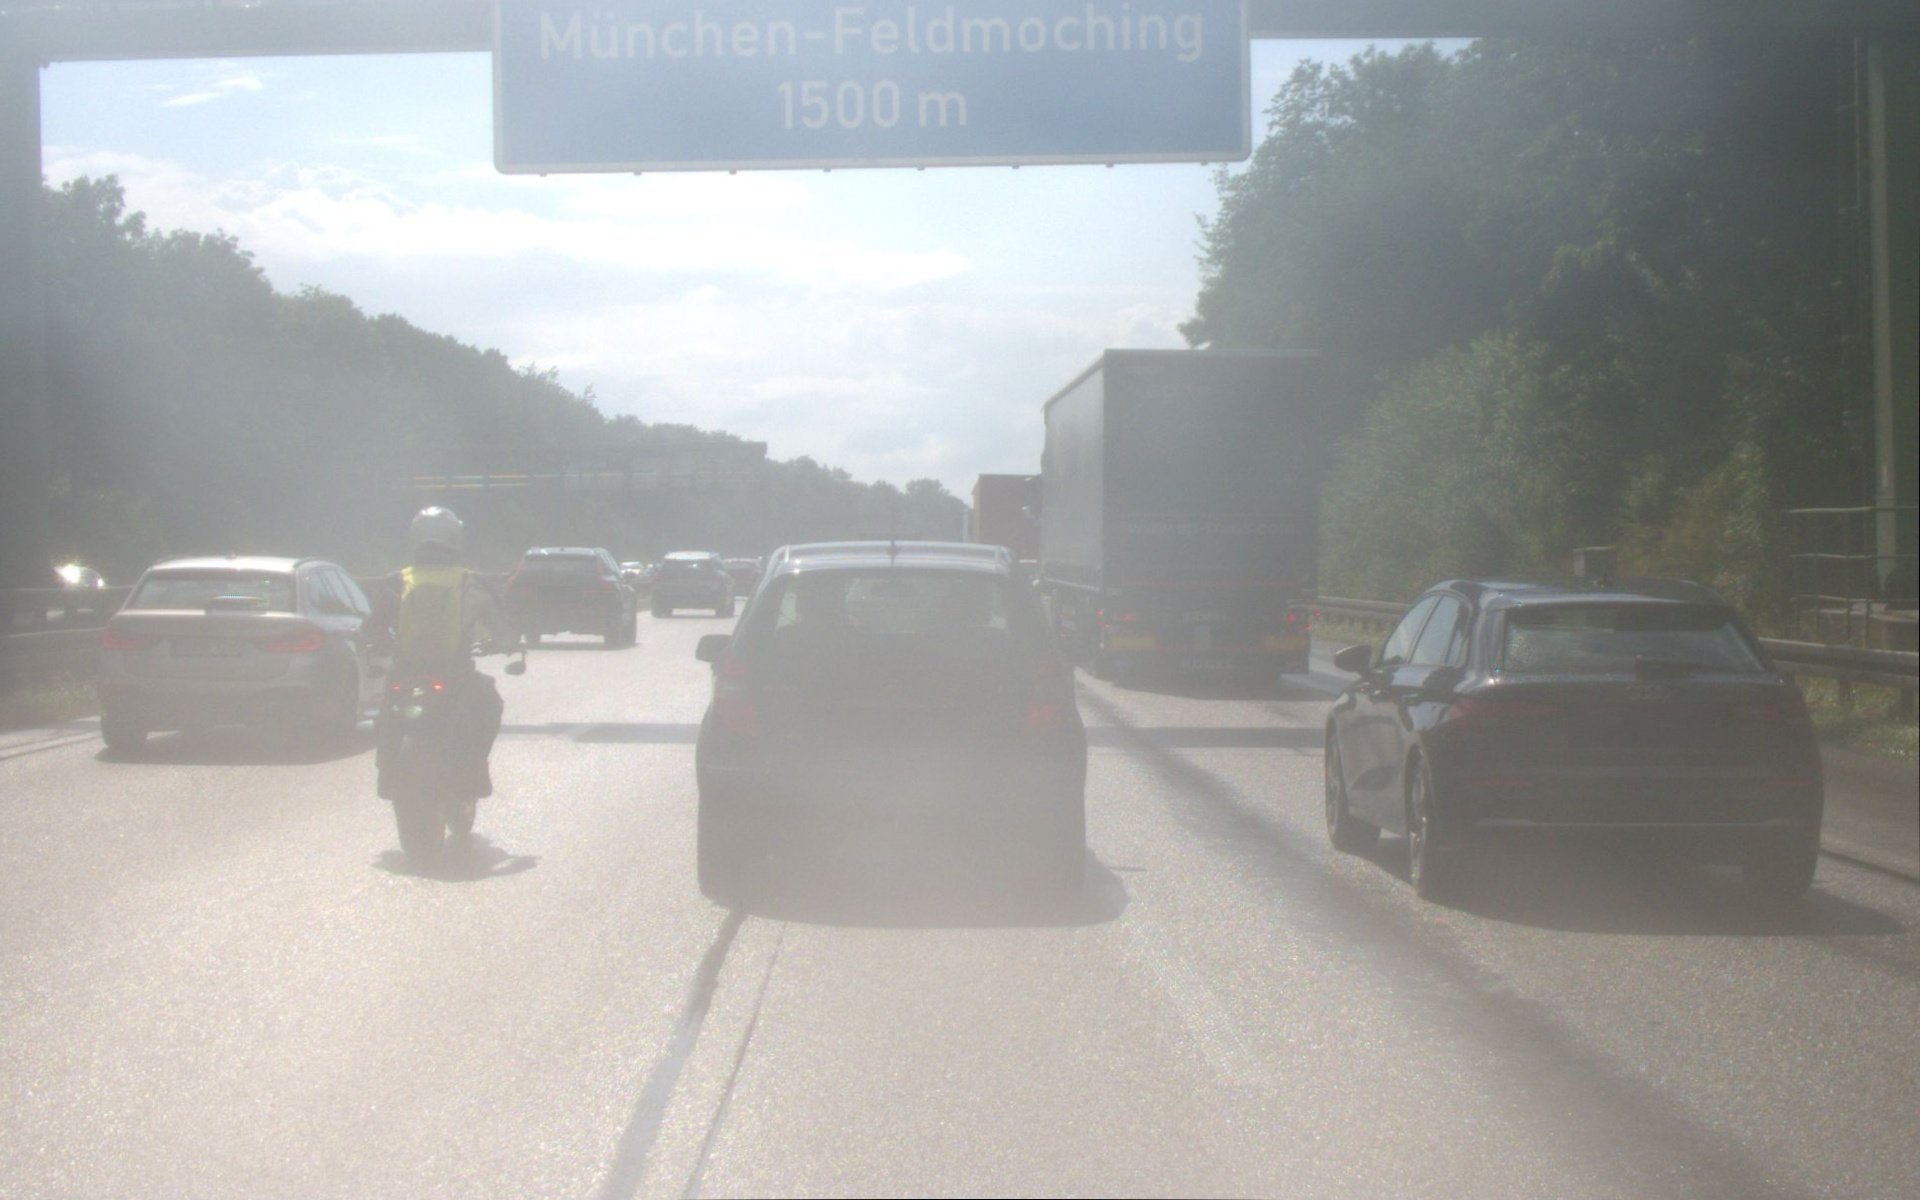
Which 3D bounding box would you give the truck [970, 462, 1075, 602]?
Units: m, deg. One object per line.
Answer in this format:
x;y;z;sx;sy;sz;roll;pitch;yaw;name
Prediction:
1.969;-2.185;112.561;3.202;4.389;9.432;0;1;0;truck

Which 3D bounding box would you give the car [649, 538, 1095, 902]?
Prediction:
-0.414;0.490;16.968;1.915;1.560;4.314;0;1;-1;car

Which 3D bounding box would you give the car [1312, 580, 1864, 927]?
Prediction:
2.823;0.624;16.408;1.755;1.391;4.368;0;1;-1;car

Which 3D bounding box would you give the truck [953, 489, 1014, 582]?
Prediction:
1.161;-3.280;178.550;2.882;4.671;12.659;1;0;-1;truck

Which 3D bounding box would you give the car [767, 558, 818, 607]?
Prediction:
-6.964;-0.724;143.106;1.993;2.007;4.000;1;0;-1;car

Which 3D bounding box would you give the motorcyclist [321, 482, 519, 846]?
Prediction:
-2.698;0.305;17.310;0.821;1.755;1.390;1;0;-3;motorcyclist

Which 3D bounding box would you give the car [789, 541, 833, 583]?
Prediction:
-7.192;-1.838;166.448;1.993;2.007;4.000;1;0;-1;car

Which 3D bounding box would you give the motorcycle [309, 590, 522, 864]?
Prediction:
-2.711;0.600;17.329;0.819;1.258;2.118;1;1;-3;motorcycle

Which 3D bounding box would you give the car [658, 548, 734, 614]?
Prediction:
-6.552;-0.492;85.528;1.675;1.591;3.437;0;1;-1;car

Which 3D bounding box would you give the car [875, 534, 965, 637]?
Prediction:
-0.789;-0.305;66.615;1.675;1.929;3.773;0;1;-1;car

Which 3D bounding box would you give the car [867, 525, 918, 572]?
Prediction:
-2.186;-1.671;111.337;1.631;1.485;3.437;0;1;-1;car

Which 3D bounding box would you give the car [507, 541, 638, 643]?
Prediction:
-6.398;-0.149;57.088;1.893;1.622;4.195;0;1;-3;car

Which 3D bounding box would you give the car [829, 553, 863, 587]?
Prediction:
-6.899;-1.808;208.427;1.993;2.007;4.000;1;0;-1;car

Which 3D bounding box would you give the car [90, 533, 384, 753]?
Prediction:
-5.611;0.285;27.138;1.758;1.589;4.331;0;1;-5;car

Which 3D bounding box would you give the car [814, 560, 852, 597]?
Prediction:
-6.986;-1.177;189.102;1.993;2.007;4.000;1;0;-1;car

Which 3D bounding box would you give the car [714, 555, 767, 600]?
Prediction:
-7.526;-0.785;118.080;1.675;1.485;3.437;0;1;-1;car

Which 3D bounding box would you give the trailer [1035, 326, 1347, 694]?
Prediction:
2.864;-1.148;47.396;3.088;4.298;14.106;0;1;-1;trailer

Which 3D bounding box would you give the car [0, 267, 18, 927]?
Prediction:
-4.801;0.021;11.099;2.015;2.639;5.777;0;1;-1;car

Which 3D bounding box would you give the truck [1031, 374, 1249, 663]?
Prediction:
2.764;-1.243;54.646;3.052;4.310;5.886;1;0;-1;truck

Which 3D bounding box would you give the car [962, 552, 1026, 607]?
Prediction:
0.941;-0.579;95.599;1.675;1.485;3.437;0;1;-1;car

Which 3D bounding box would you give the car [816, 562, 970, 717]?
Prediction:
-0.923;0.501;47.046;1.993;2.007;4.000;1;0;-1;car
